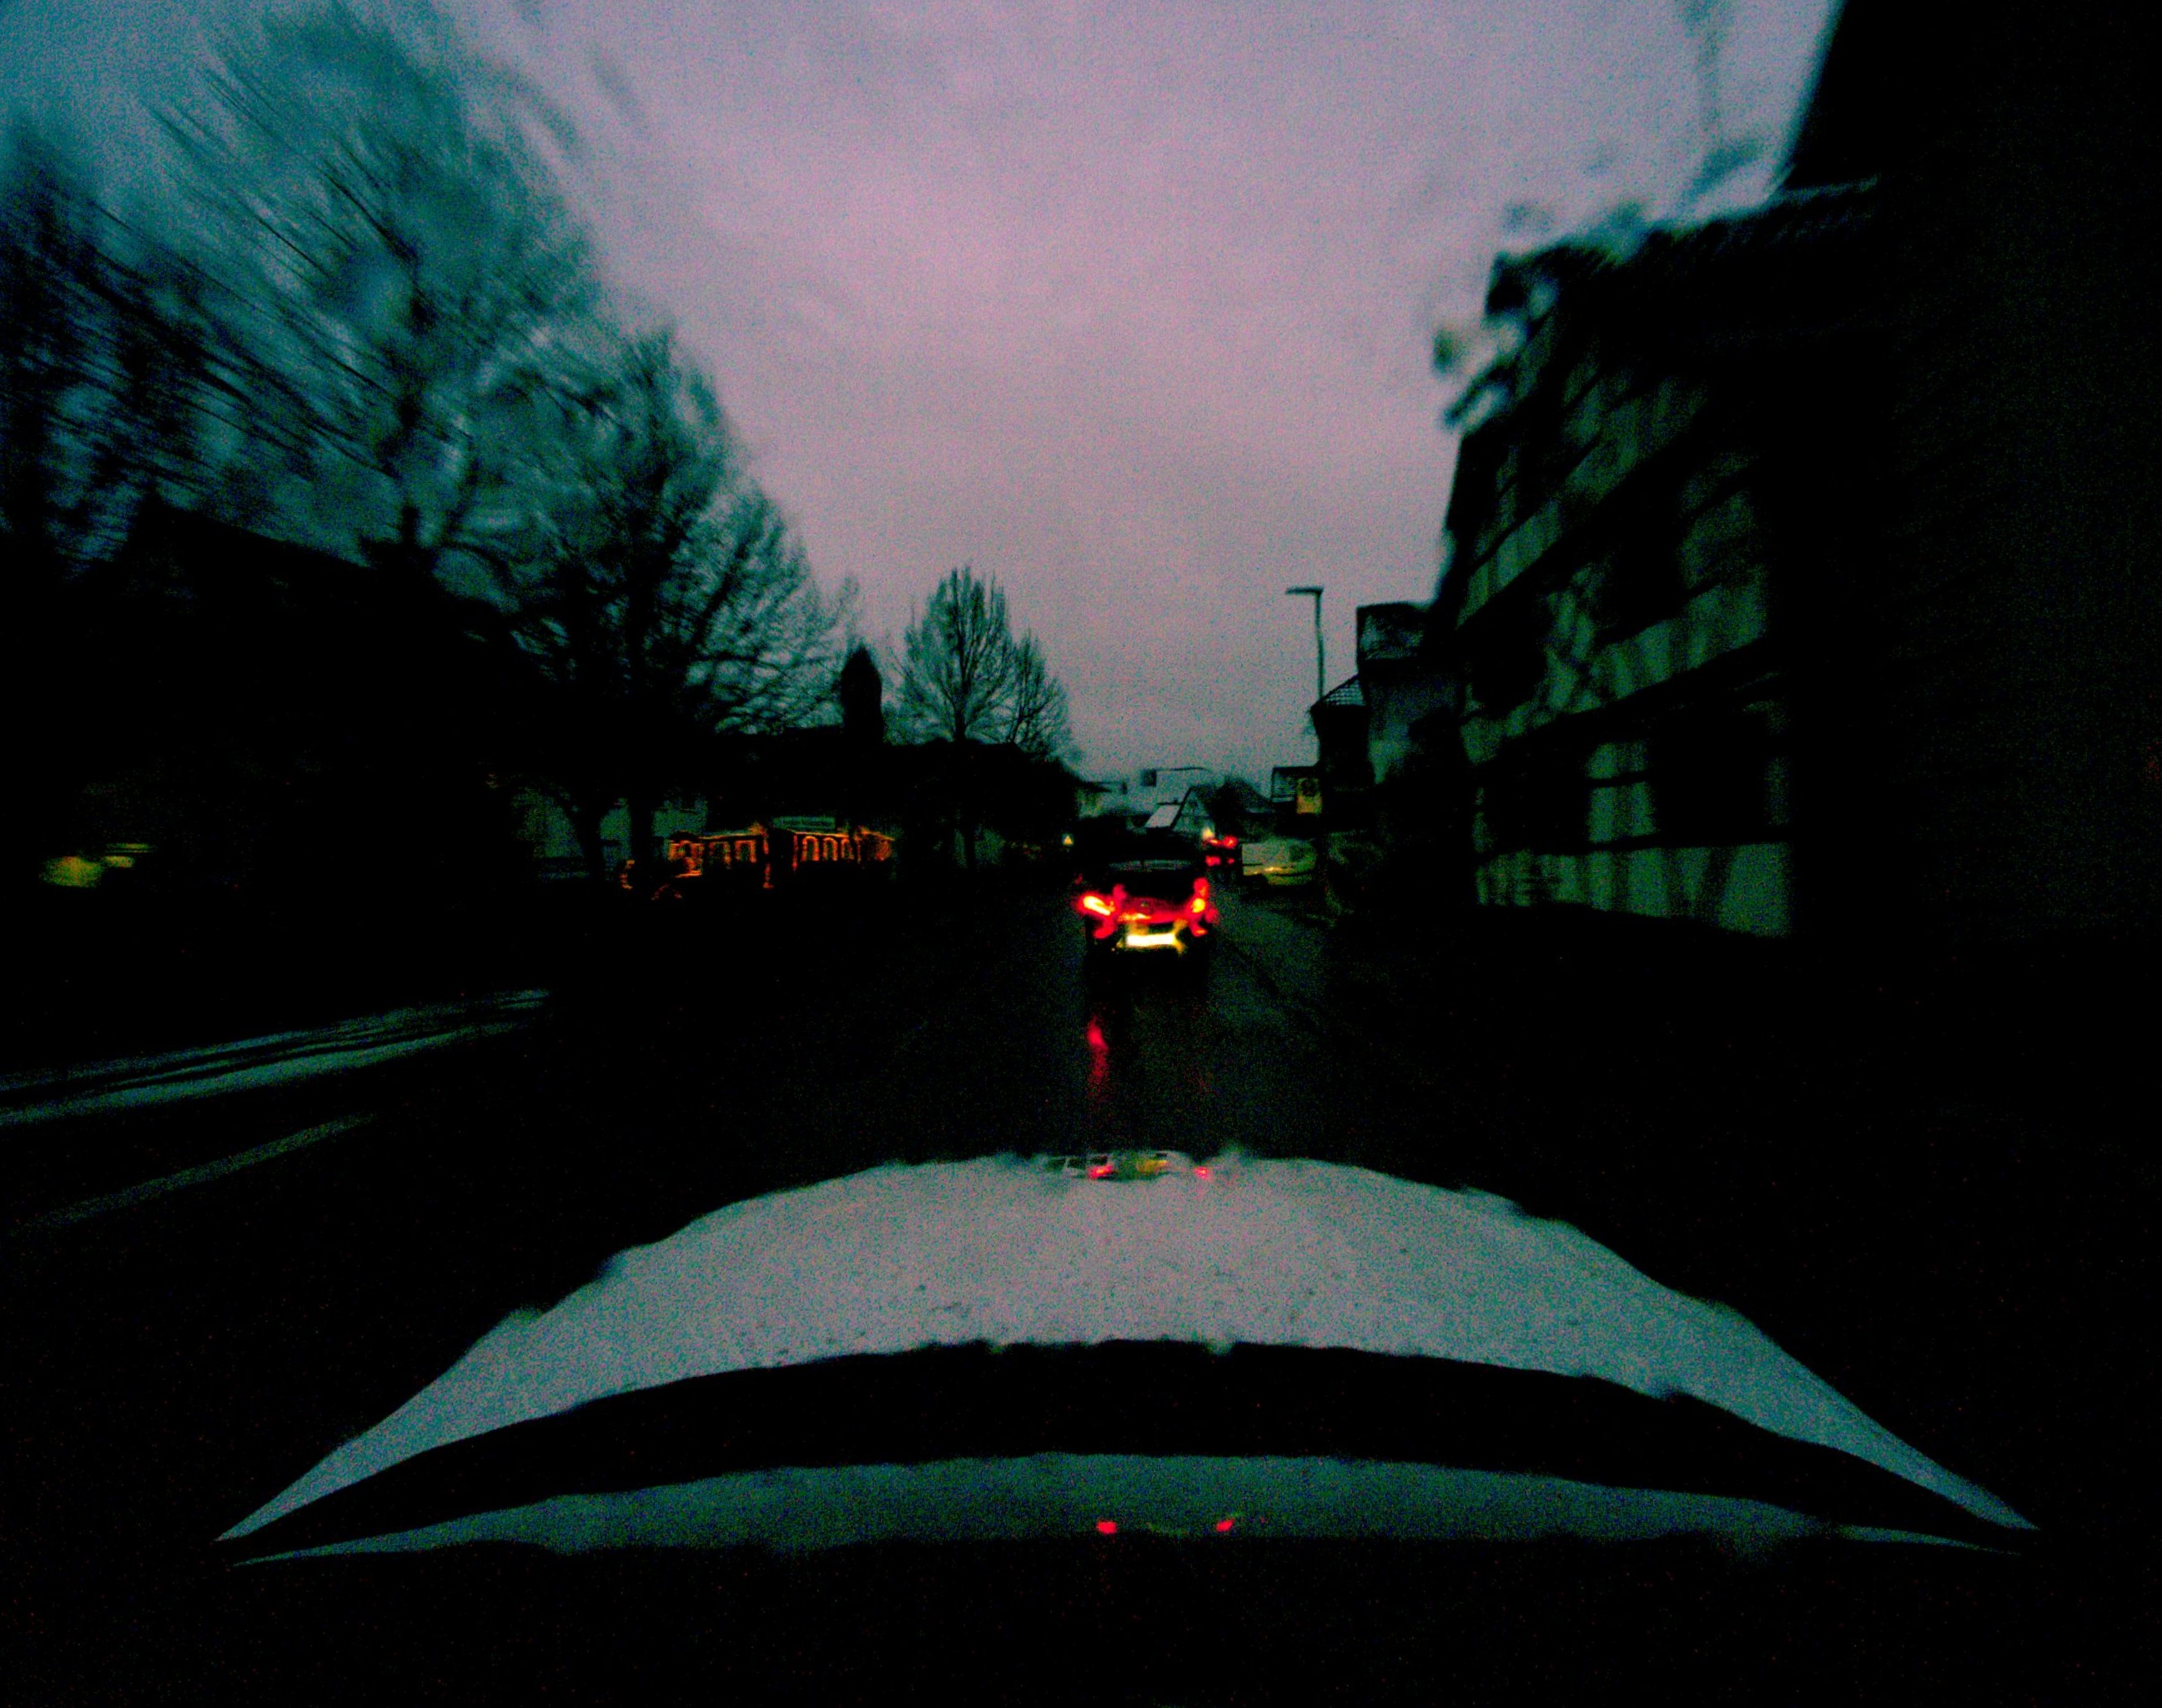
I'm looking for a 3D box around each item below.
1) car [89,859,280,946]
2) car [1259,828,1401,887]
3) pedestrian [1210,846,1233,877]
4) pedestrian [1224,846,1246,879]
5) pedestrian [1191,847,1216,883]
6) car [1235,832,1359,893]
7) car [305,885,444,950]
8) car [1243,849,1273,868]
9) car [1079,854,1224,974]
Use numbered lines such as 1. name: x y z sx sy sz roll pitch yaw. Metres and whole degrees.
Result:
1. car: -17.948 0.888 16.272 3.948 1.508 1.934 -1 0 33
2. car: 9.464 0.141 31.173 4.943 1.889 1.945 -4 0 15
3. pedestrian: 7.707 0.405 44.664 0.859 1.667 0.997 -5 -1 24
4. pedestrian: 8.394 0.467 44.368 0.840 1.733 0.977 -5 -1 24
5. pedestrian: 6.097 0.540 40.604 0.872 1.735 0.961 -5 -1 24
6. car: 7.559 0.300 28.872 4.016 1.843 1.869 -4 -1 11
7. car: -16.805 1.438 19.347 3.283 1.329 1.624 -1 0 33
8. car: 16.075 0.401 73.809 1.831 1.637 4.360 -1 0 24
9. car: 1.005 0.753 12.173 1.787 1.476 4.004 -1 0 4
